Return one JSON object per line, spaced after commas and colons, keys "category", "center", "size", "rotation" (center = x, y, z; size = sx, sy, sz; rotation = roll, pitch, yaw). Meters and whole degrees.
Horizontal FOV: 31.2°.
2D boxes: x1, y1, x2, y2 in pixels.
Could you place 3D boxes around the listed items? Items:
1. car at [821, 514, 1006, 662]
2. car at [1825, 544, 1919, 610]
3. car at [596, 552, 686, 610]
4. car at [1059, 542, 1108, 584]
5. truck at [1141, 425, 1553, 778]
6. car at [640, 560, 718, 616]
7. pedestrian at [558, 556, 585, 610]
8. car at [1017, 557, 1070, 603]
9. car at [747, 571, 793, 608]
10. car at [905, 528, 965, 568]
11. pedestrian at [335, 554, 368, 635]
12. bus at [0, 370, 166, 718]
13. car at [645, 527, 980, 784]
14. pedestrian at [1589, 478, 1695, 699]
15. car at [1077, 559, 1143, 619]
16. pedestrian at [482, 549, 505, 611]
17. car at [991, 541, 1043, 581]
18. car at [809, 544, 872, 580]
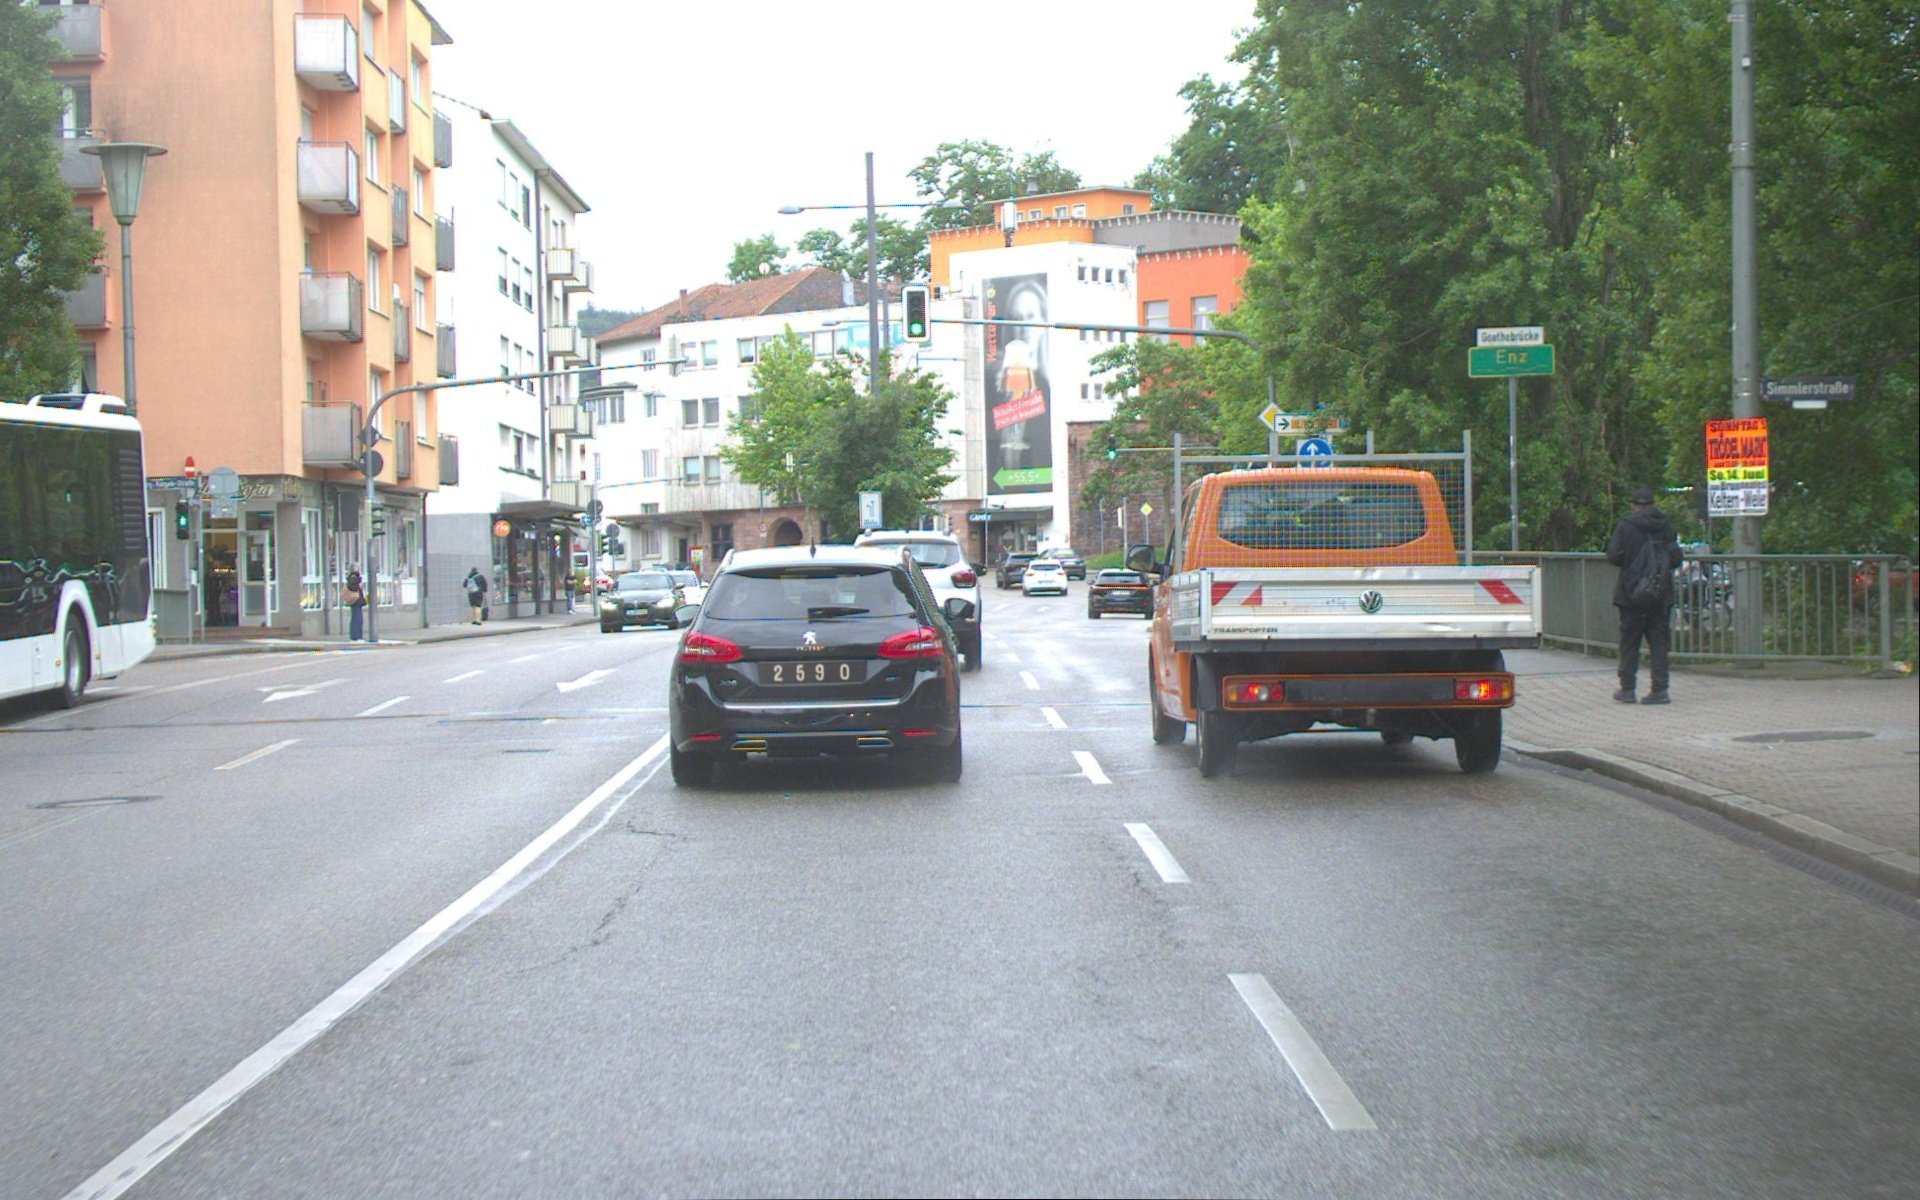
{"category": "car", "center": [-0.451, -0.142, 37.401], "size": [1.795, 1.478, 4.000], "rotation": [-1, 1, 2]}
{"category": "car", "center": [24.335, -0.610, 87.482], "size": [4.120, 1.615, 1.806], "rotation": [-1, 1, -4]}
{"category": "car", "center": [-7.619, -0.473, 82.444], "size": [1.791, 1.320, 4.407], "rotation": [-1, 1, -1]}
{"category": "car", "center": [5.631, -1.707, 156.963], "size": [1.993, 1.815, 4.000], "rotation": [-1, 1, -1]}
{"category": "truck", "center": [2.356, -0.023, 22.198], "size": [2.122, 2.018, 4.716], "rotation": [0, 1, 0]}
{"category": "car", "center": [-7.984, -0.370, 98.102], "size": [1.836, 1.504, 4.821], "rotation": [-1, 1, 0]}
{"category": "pedestrian", "center": [-14.709, -0.643, 130.226], "size": [0.726, 2.007, 0.657], "rotation": [3, -2, -33]}
{"category": "car", "center": [3.349, -0.832, 138.427], "size": [1.993, 1.815, 4.000], "rotation": [0, 1, -1]}
{"category": "car", "center": [-7.662, -0.428, 138.913], "size": [1.665, 1.395, 3.877], "rotation": [-2, 1, -1]}
{"category": "car", "center": [-1.147, -2.304, 153.031], "size": [1.993, 1.678, 4.001], "rotation": [-1, 1, -10]}
{"category": "pedestrian", "center": [-13.122, -0.115, 74.167], "size": [0.530, 1.721, 0.648], "rotation": [-1, 1, 3]}
{"category": "bus", "center": [-9.846, -0.476, 30.387], "size": [2.744, 3.065, 12.238], "rotation": [-1, 2, 0]}
{"category": "car", "center": [-0.849, 0.319, 22.031], "size": [1.795, 1.478, 4.000], "rotation": [1, 0, 2]}
{"category": "pedestrian", "center": [5.234, -0.098, 26.393], "size": [0.639, 1.658, 0.563], "rotation": [-2, 2, -1]}
{"category": "car", "center": [4.265, -0.299, 98.137], "size": [1.644, 1.559, 3.600], "rotation": [2, -2, 0]}
{"category": "pedestrian", "center": [-13.983, -0.614, 103.020], "size": [0.639, 1.854, 0.524], "rotation": [0, 1, -2]}
{"category": "car", "center": [2.453, -1.668, 148.652], "size": [1.644, 1.559, 3.600], "rotation": [2, -2, -8]}
{"category": "car", "center": [-5.620, -1.777, 161.041], "size": [1.644, 1.559, 3.600], "rotation": [2, -2, -25]}
